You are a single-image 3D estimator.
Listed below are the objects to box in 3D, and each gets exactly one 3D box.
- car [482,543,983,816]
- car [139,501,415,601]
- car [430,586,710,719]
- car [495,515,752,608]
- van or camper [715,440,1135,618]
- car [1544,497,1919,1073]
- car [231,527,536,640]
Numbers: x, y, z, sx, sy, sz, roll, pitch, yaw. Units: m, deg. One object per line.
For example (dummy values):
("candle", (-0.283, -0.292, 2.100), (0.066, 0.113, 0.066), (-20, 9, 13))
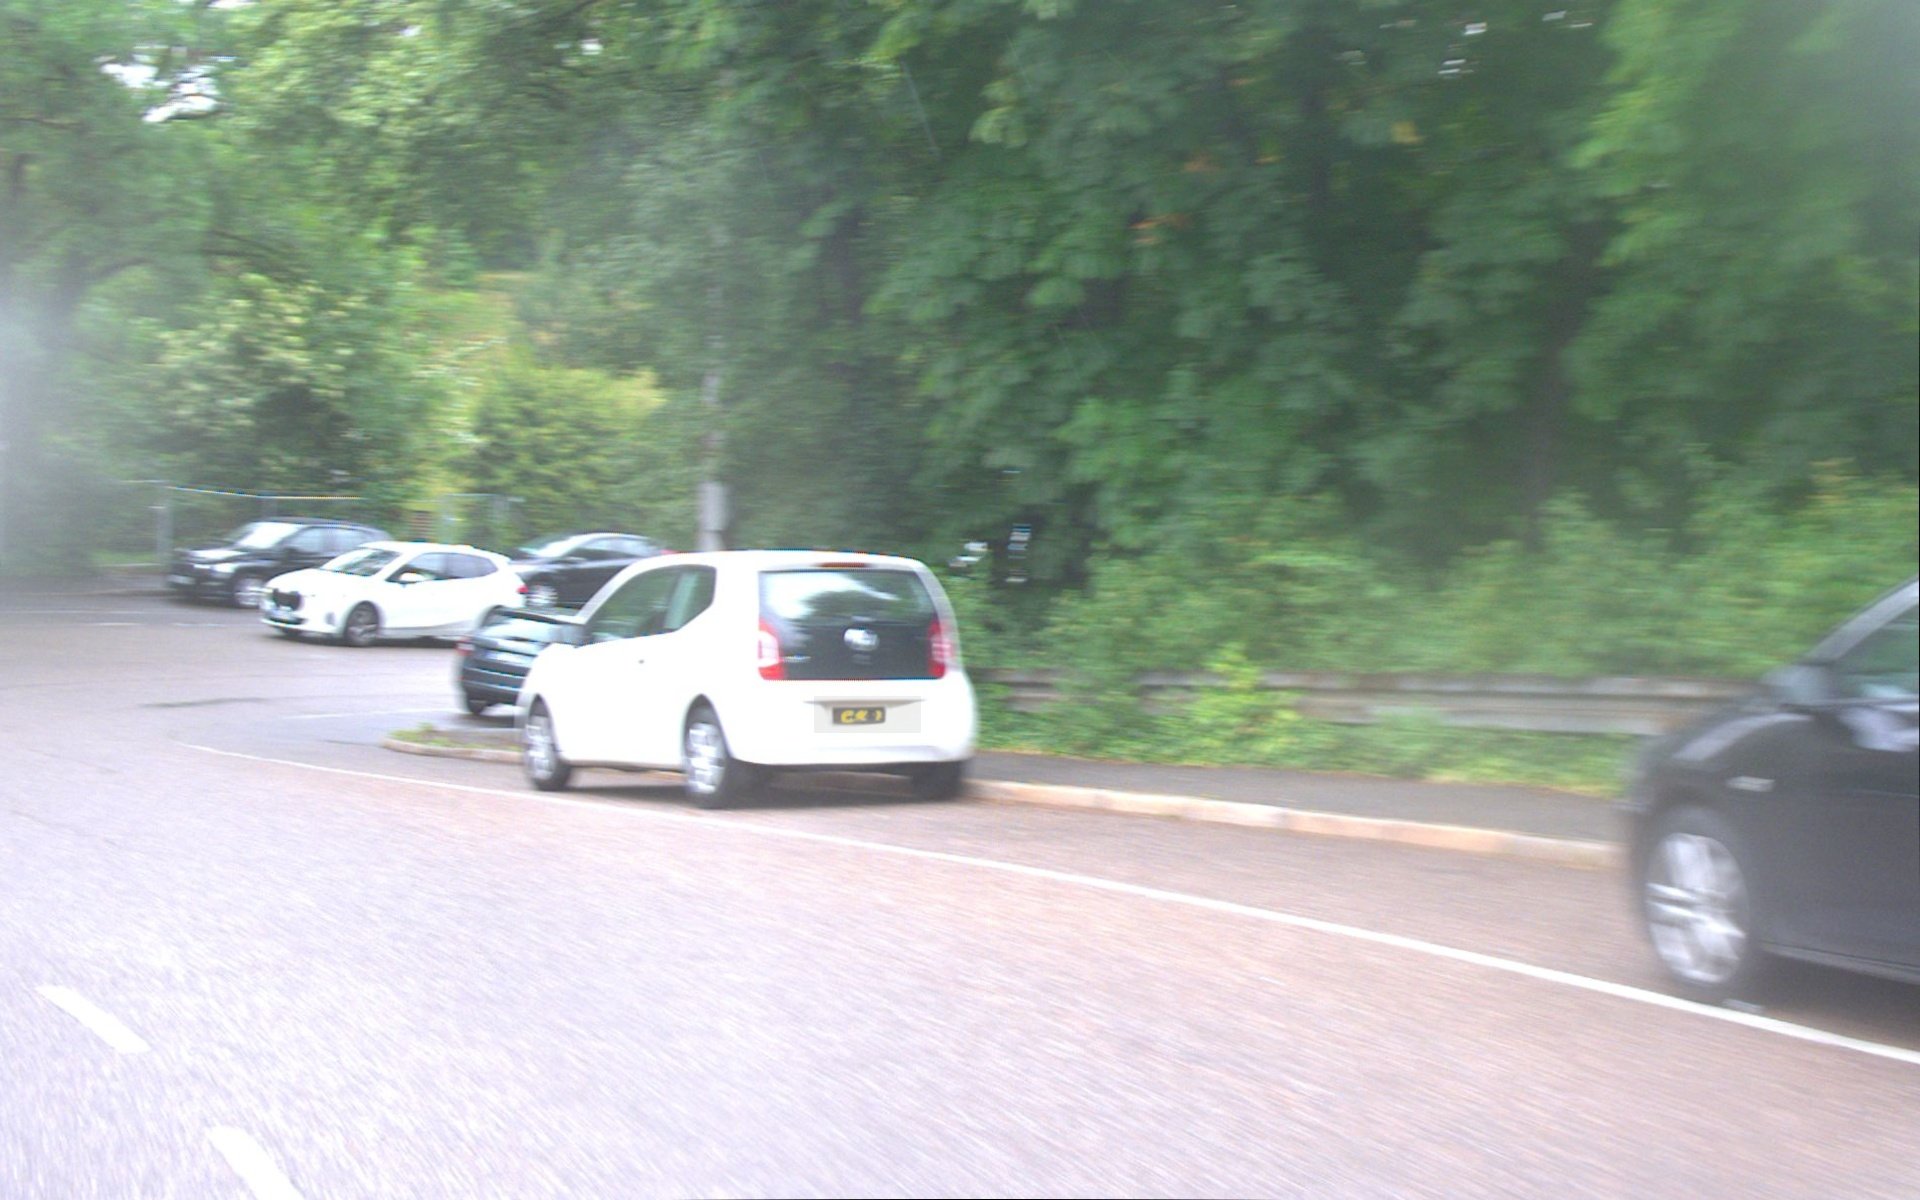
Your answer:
("car", (-1.469, 0.439, 20.831), (1.585, 1.496, 3.667), (1, 0, -29))
("car", (-11.609, -0.817, 58.618), (1.783, 1.460, 4.302), (9, 6, 42))
("car", (-4.964, 0.666, 44.318), (1.651, 1.460, 4.027), (7, 2, 24))
("car", (-6.188, -0.704, 63.371), (4.298, 1.351, 1.760), (2, 6, -33))
("van or camper", (-0.648, -1.348, 66.298), (7.634, 2.922, 2.203), (2, 6, -23))
("car", (3.389, 0.471, 9.096), (1.717, 1.508, 4.597), (-2, 2, -17))
("car", (-8.933, -0.243, 53.520), (1.803, 1.564, 4.444), (4, 1, 43))
